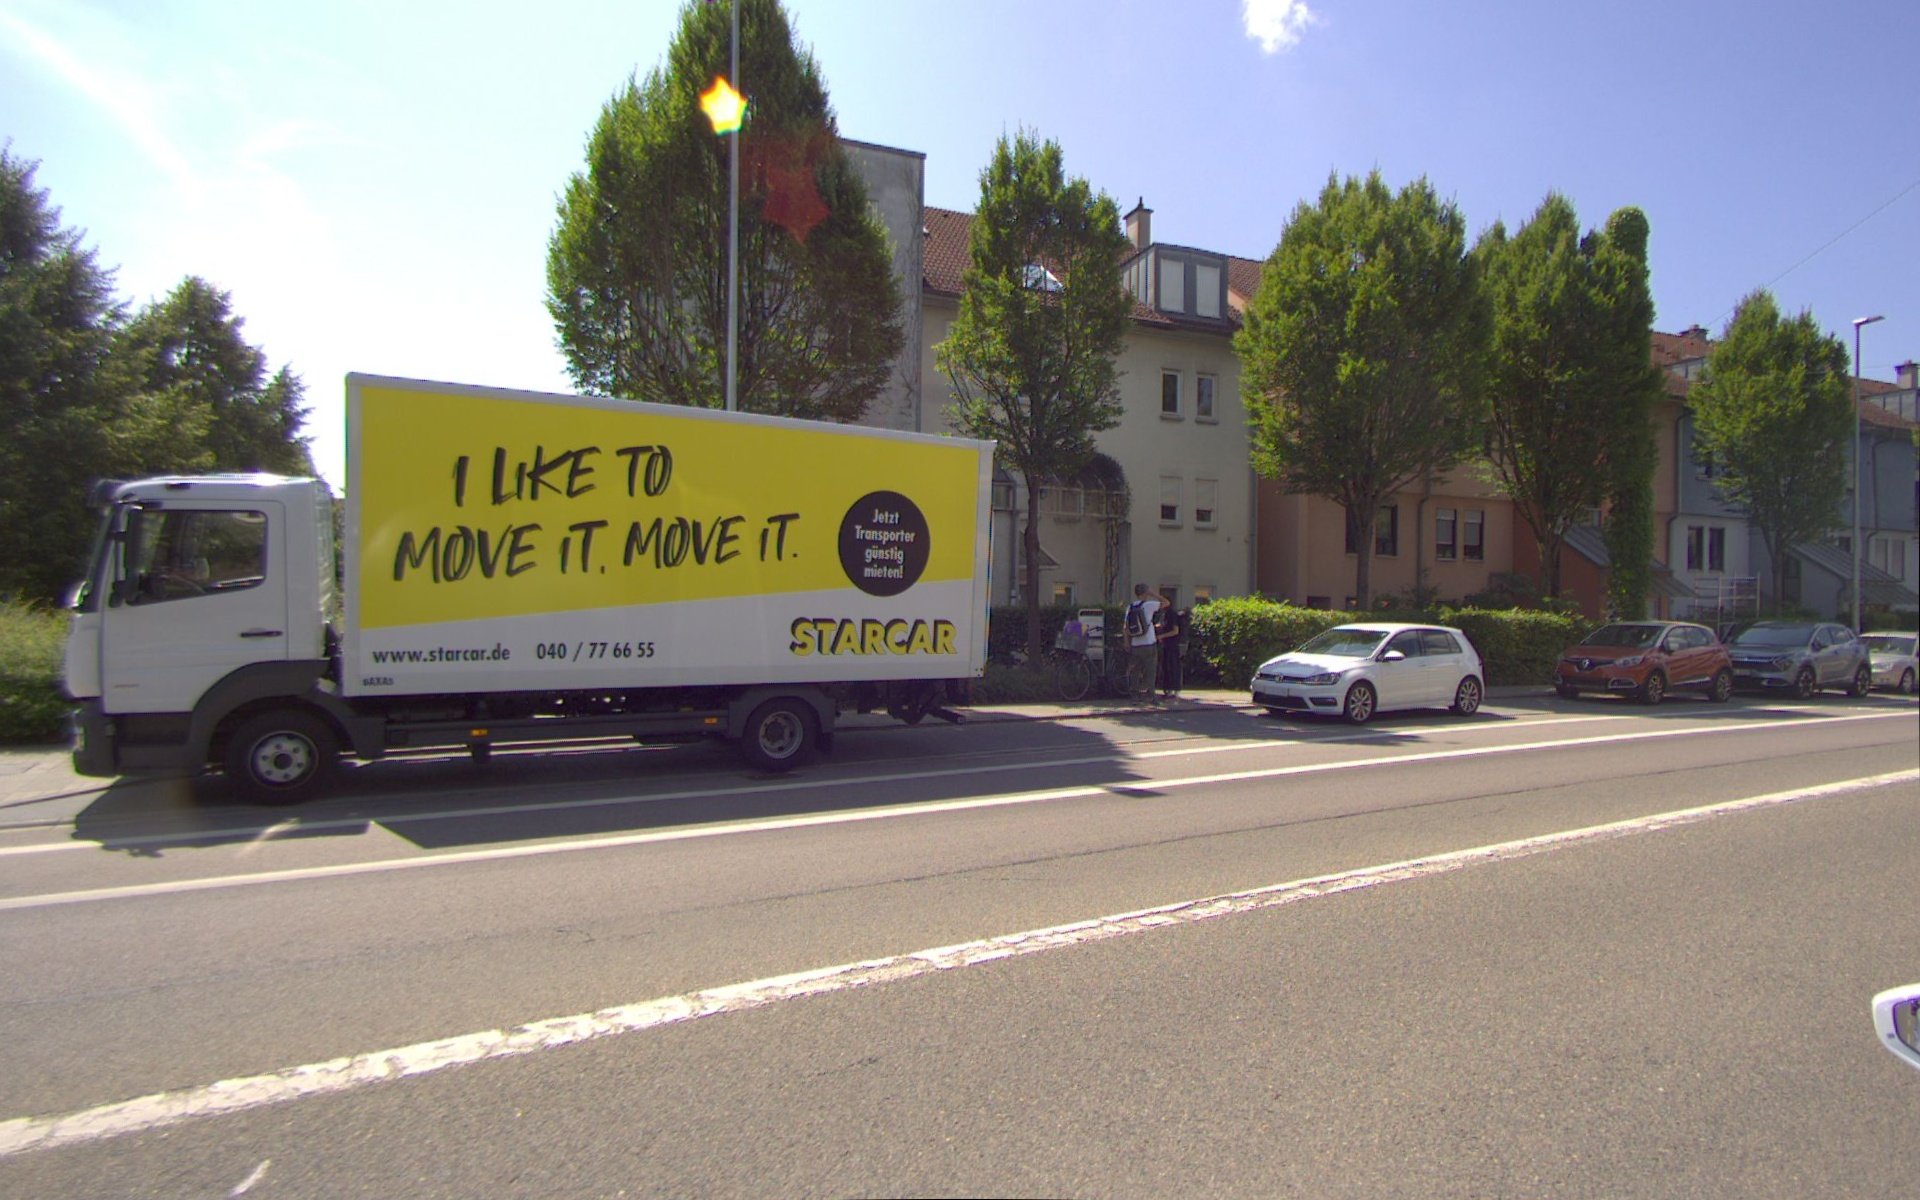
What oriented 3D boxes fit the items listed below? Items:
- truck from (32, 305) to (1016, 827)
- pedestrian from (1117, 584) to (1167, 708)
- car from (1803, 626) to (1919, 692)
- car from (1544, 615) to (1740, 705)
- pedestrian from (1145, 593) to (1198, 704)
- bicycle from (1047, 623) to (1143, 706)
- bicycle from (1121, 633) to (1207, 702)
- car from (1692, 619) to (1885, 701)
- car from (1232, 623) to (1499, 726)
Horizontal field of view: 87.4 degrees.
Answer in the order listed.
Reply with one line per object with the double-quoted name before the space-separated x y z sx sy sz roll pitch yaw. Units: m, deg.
"truck" -3.603 -0.204 10.203 8.075 3.596 2.817 1 2 -30
"pedestrian" 2.922 0.733 16.165 0.694 1.948 0.644 0 -1 1
"car" 23.638 1.452 25.429 4.829 1.528 1.651 1 -1 -25
"car" 13.724 1.152 20.156 4.125 1.631 1.647 2 -1 -30
"pedestrian" 3.571 0.806 16.953 0.672 1.819 0.702 0 -1 33
"bicycle" 2.254 1.055 16.723 1.644 1.333 0.454 1 -1 -29
"bicycle" 3.573 1.149 17.507 1.648 1.141 0.453 1 -1 -34
"car" 18.751 1.294 22.697 4.627 1.631 1.649 1 2 -27
"car" 6.509 1.100 15.995 4.345 1.429 1.648 1 -1 -30
